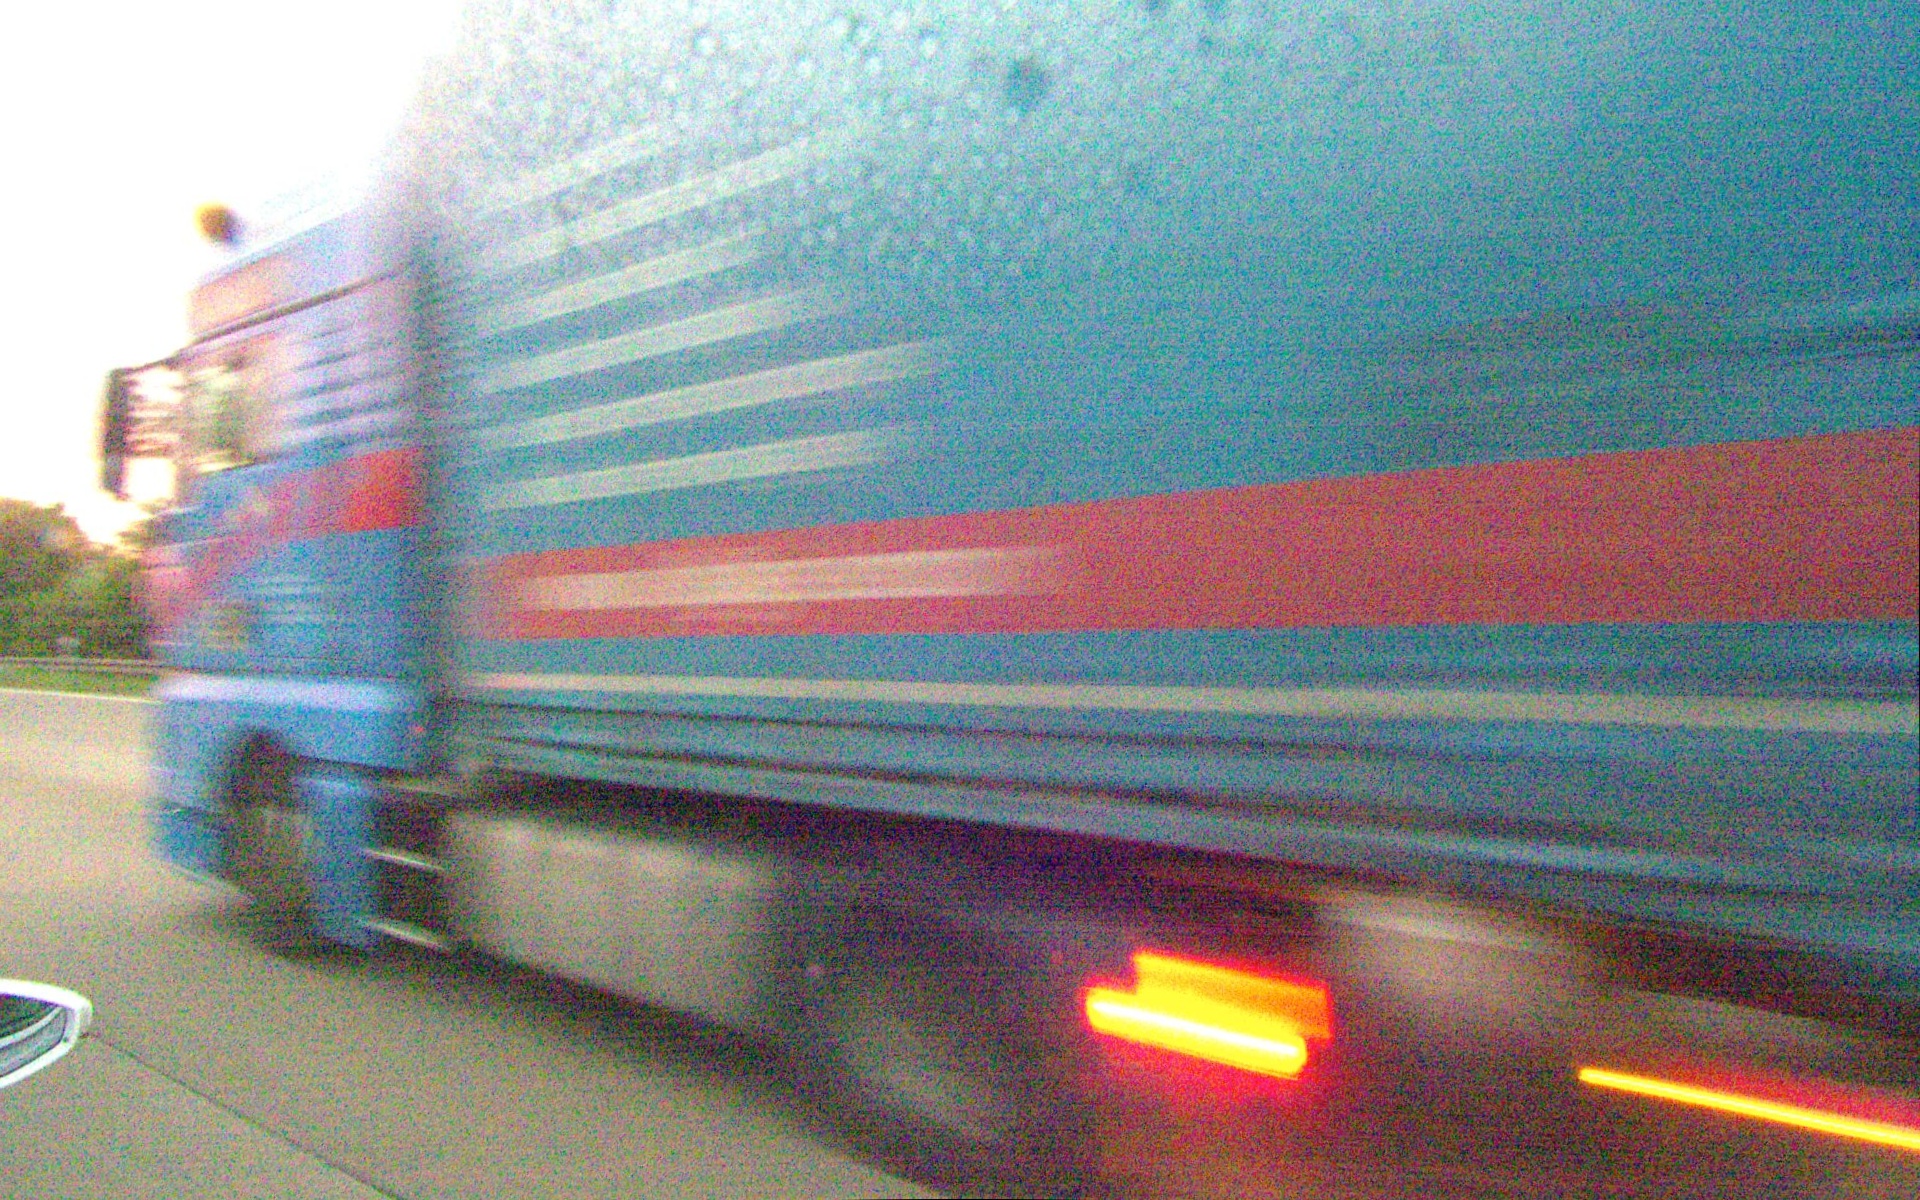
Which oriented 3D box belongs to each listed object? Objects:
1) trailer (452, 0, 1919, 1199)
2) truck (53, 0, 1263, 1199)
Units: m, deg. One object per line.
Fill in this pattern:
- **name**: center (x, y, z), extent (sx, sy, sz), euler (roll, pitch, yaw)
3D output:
- **trailer**: center (4.795, -0.594, 0.884), extent (13.542, 4.138, 2.767), euler (-1, -2, 32)
- **truck**: center (-1.769, -0.442, 5.016), extent (5.767, 4.047, 2.731), euler (-1, -1, 33)
